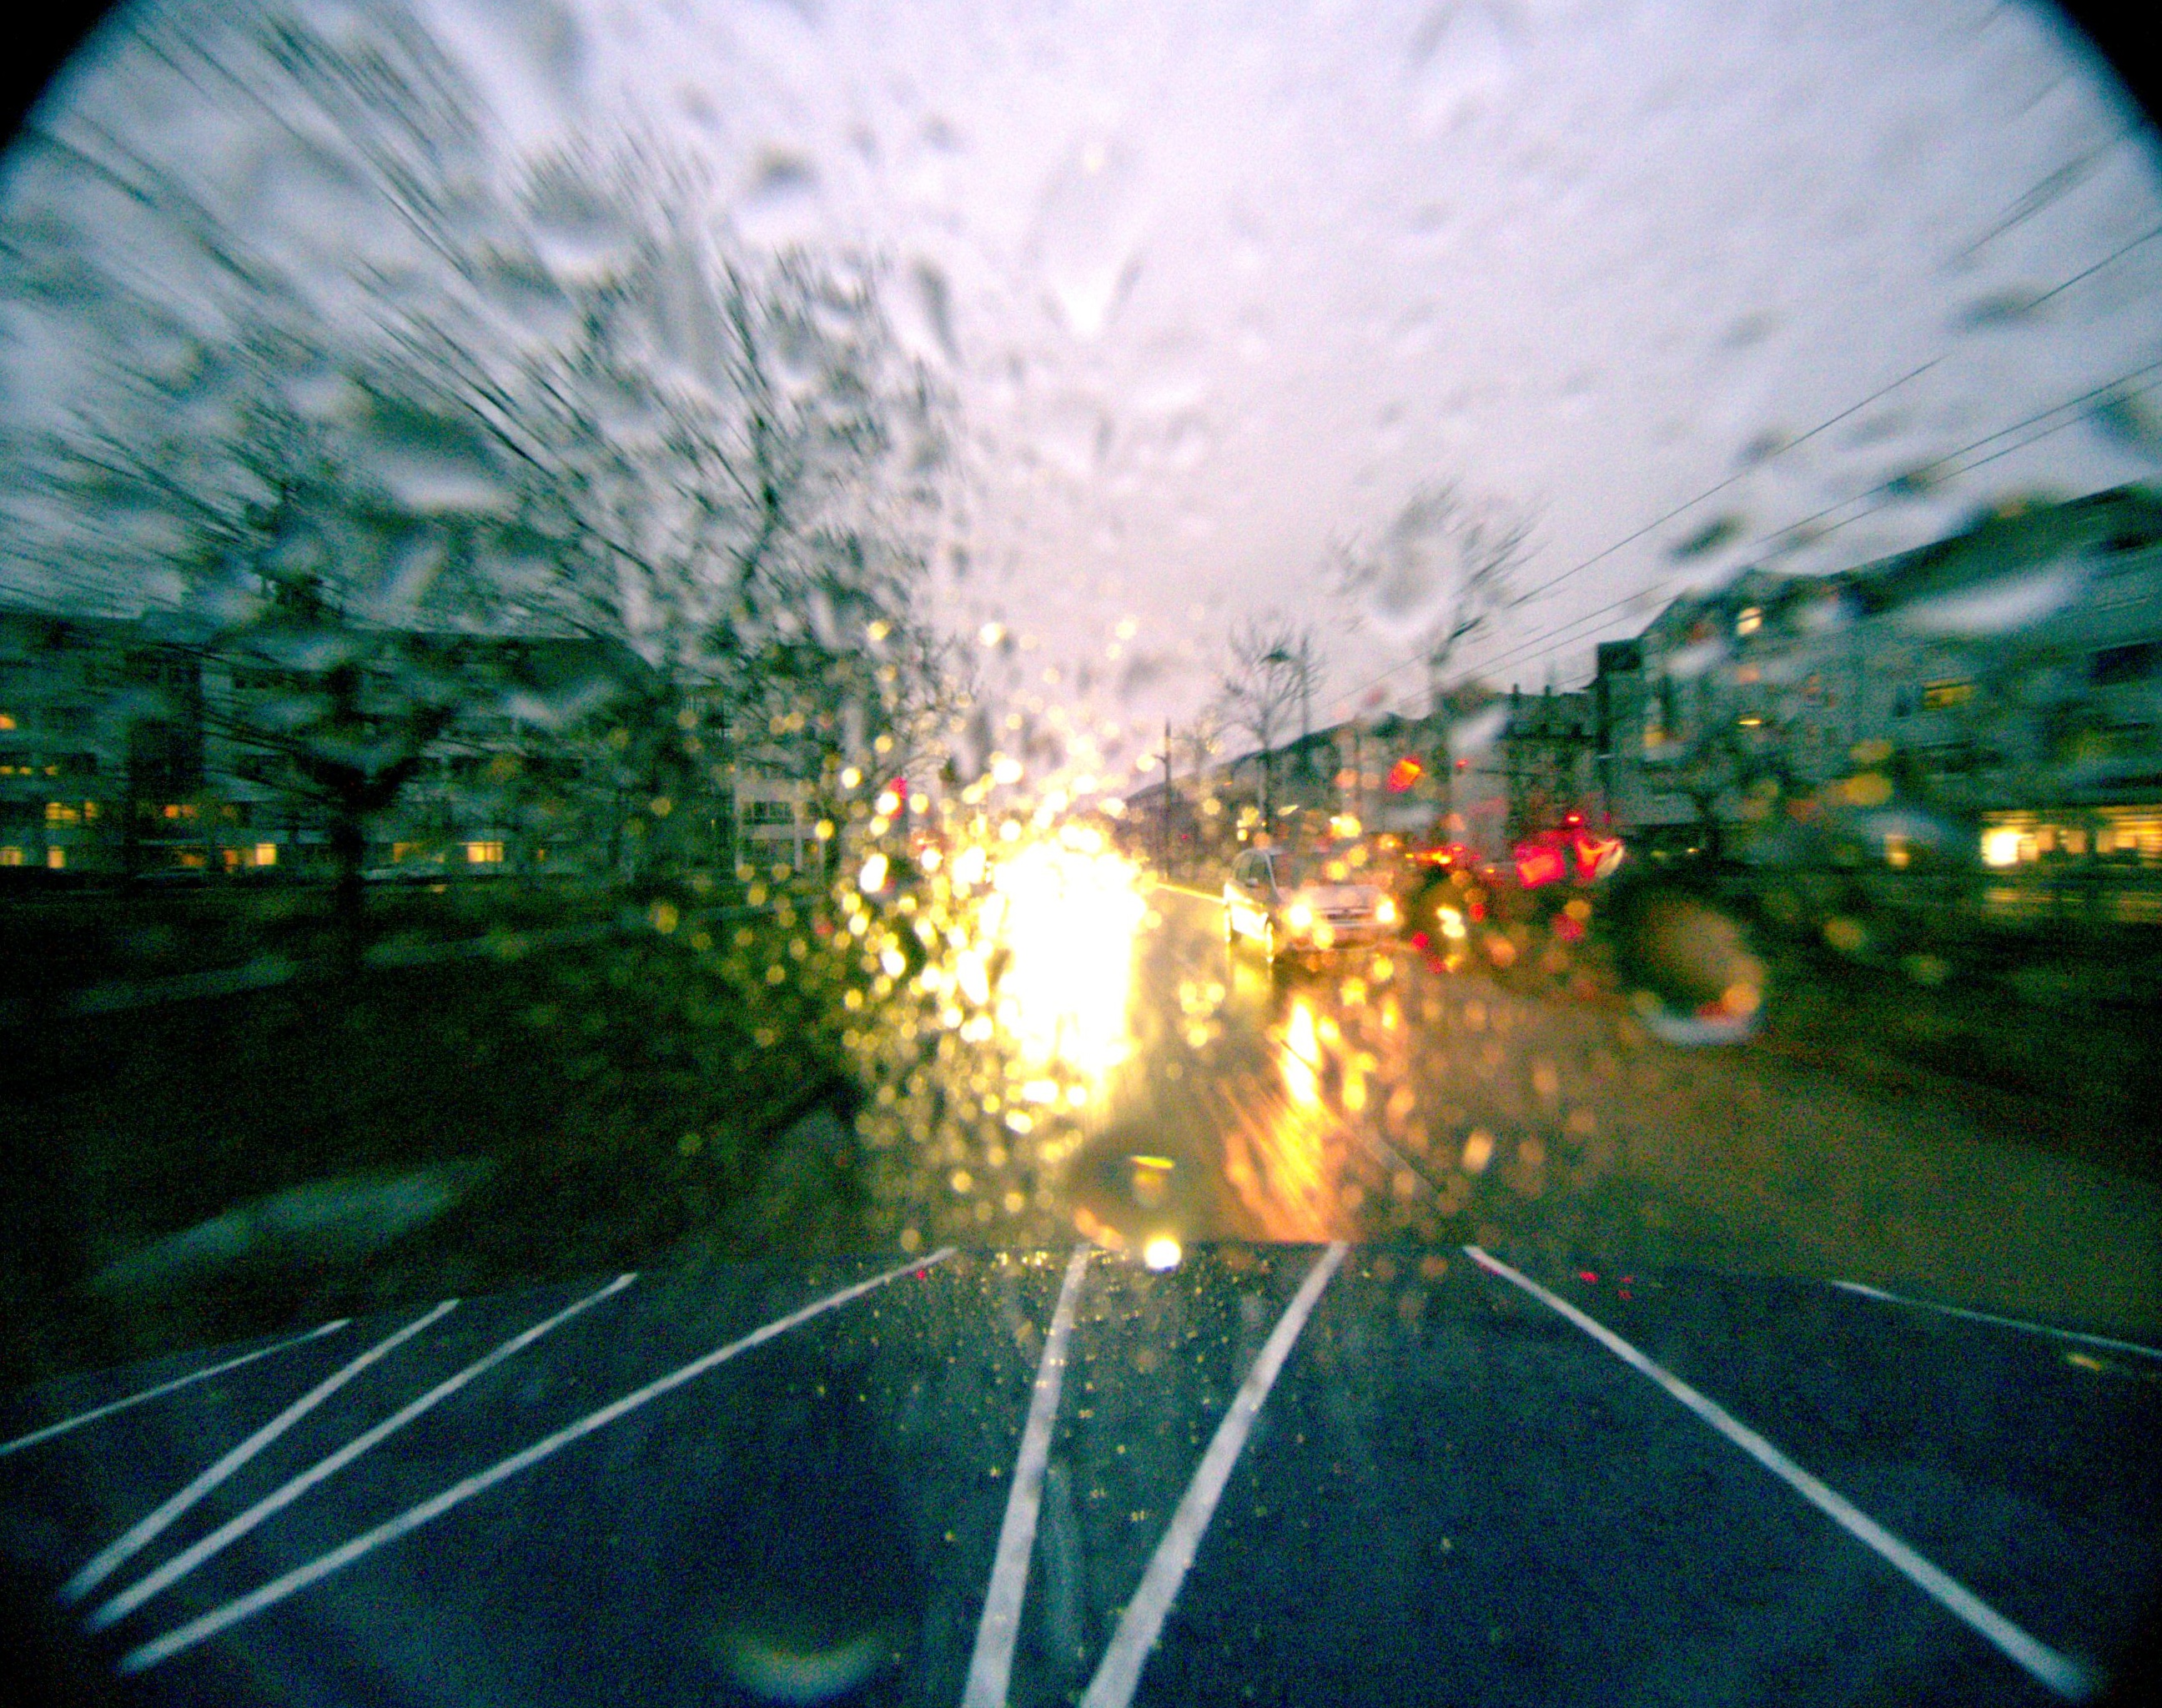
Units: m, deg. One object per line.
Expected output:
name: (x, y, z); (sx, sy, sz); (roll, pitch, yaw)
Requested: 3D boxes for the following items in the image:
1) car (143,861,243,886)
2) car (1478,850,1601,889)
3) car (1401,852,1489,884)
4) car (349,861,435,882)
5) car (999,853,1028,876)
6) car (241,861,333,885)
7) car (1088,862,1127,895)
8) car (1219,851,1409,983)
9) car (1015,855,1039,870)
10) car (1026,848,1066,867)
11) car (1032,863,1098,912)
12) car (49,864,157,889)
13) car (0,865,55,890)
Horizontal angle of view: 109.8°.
car: (-62.433, 1.365, 53.515); (4.167, 1.622, 1.997); (-1, 0, -14)
car: (17.251, 0.535, 28.871); (1.897, 1.347, 4.287); (-1, 0, -4)
car: (16.817, 0.602, 35.361); (1.897, 1.347, 4.288); (-1, 0, -3)
car: (-49.649, 1.231, 54.862); (4.167, 1.430, 1.901); (-1, 0, -14)
car: (-4.956, 0.736, 55.694); (1.950, 1.546, 4.214); (-2, 0, -7)
car: (-57.063, 1.372, 54.683); (4.149, 1.622, 1.997); (-1, 0, -14)
car: (1.375, 1.276, 41.157); (1.924, 1.546, 4.217); (-2, 0, 0)
car: (3.190, 0.767, 11.187); (1.669, 1.566, 3.922); (-1, 0, 1)
car: (-5.212, 0.779, 72.341); (1.898, 1.347, 4.285); (-1, 0, -9)
car: (-3.540, 0.311, 75.954); (2.331, 1.846, 4.664); (-1, 0, -25)
car: (-0.568, 0.999, 24.455); (1.897, 1.347, 4.288); (-1, 0, -3)
car: (-67.065, 1.526, 52.171); (4.167, 1.622, 1.997); (-1, 0, -14)
car: (-72.361, 1.557, 50.749); (4.167, 1.622, 1.997); (-1, 0, -14)
